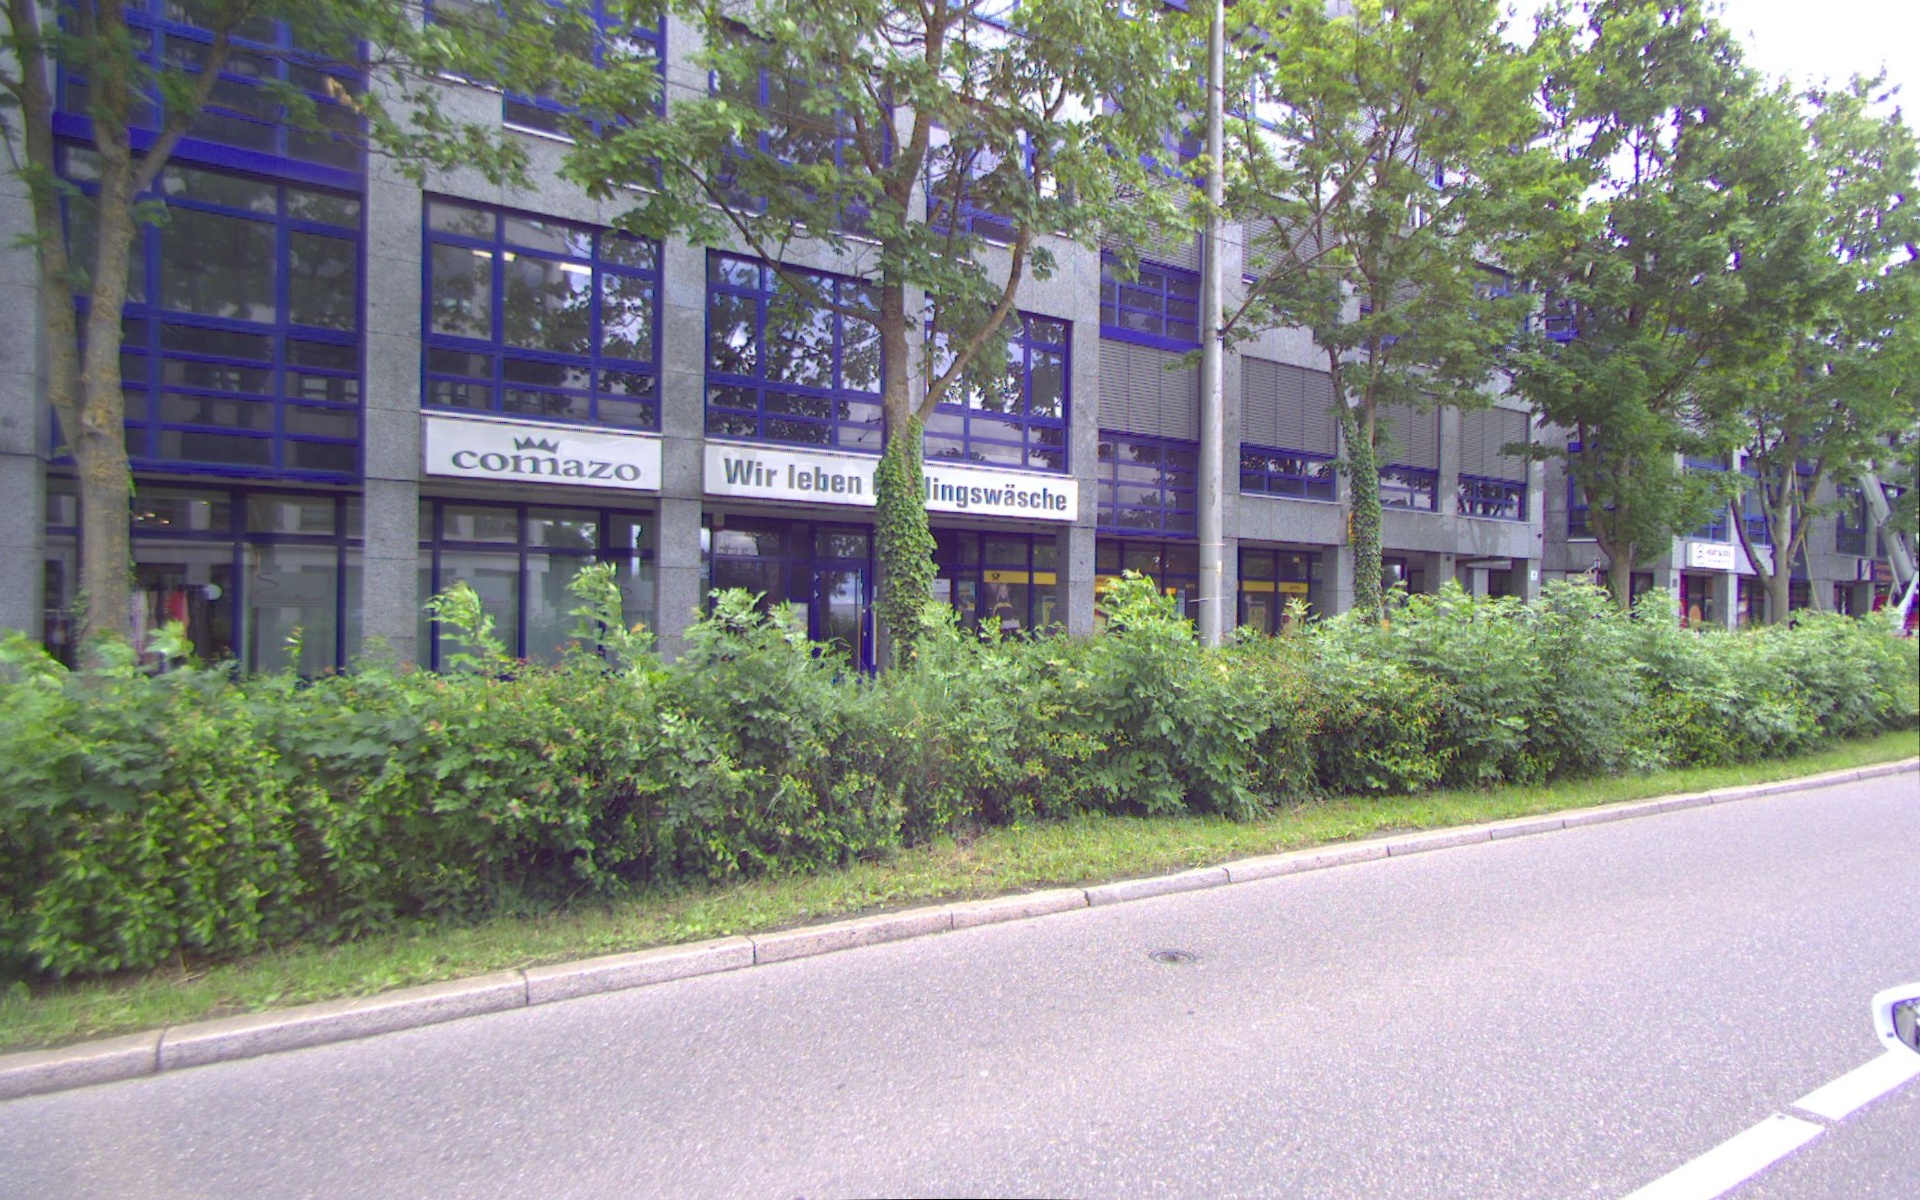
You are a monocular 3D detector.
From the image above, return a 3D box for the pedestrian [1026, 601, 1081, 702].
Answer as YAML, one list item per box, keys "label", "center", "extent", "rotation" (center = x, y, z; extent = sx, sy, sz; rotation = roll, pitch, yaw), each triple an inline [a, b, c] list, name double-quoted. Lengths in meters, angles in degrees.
- label: "pedestrian"
  center: [1.839, 0.996, 19.739]
  extent: [0.723, 1.919, 0.771]
  rotation: [2, 0, -30]
